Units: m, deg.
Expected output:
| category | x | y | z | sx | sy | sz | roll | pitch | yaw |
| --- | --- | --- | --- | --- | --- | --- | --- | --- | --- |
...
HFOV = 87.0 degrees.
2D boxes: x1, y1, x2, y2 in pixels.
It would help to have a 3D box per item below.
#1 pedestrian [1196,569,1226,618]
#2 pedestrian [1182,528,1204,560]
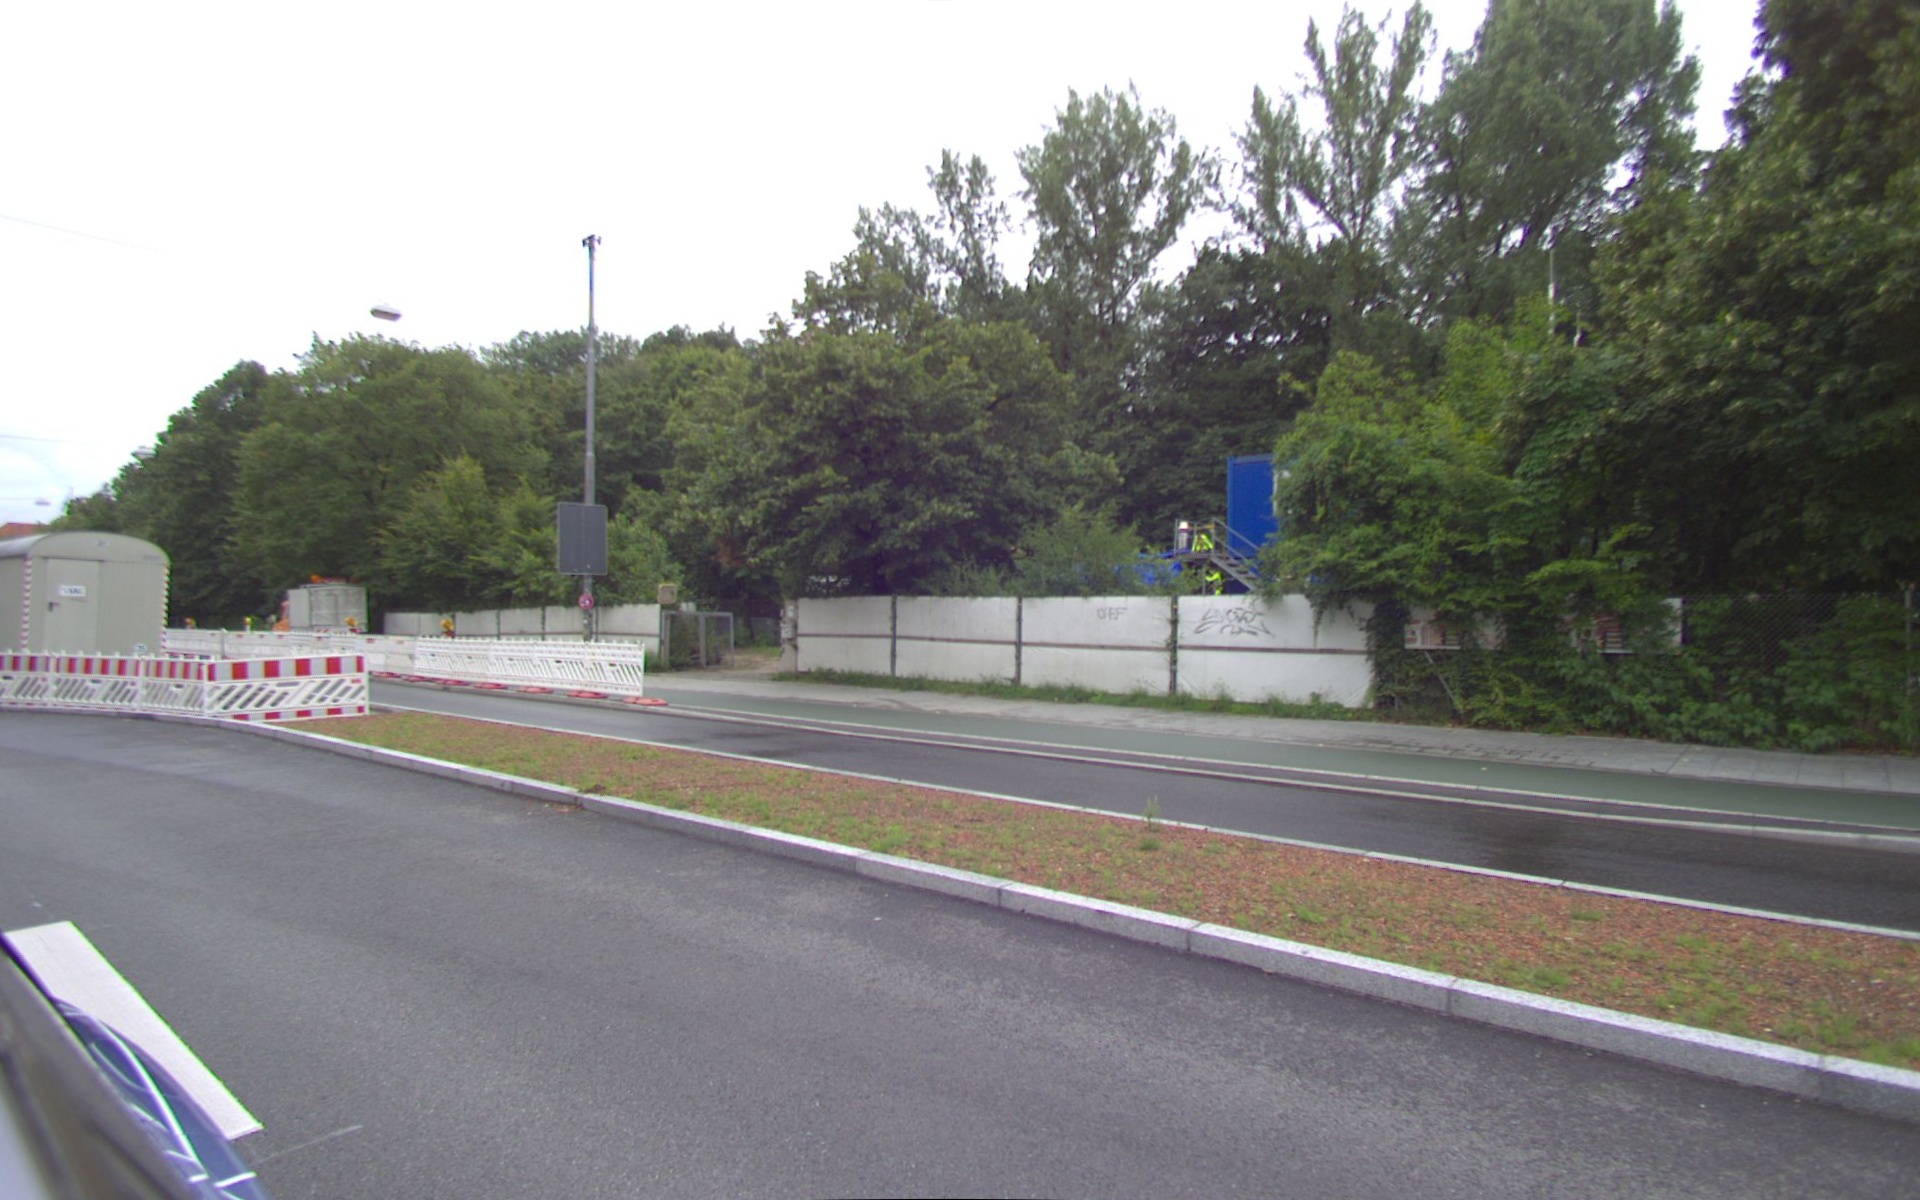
| category | x | y | z | sx | sy | sz | roll | pitch | yaw |
| --- | --- | --- | --- | --- | --- | --- | --- | --- | --- |
| pedestrian | 9.311 | -0.240 | 37.516 | 0.832 | 1.788 | 0.786 | -1 | -2 | 36 |
| pedestrian | 9.318 | -2.228 | 40.489 | 0.789 | 1.194 | 0.679 | -1 | -2 | 18 |
